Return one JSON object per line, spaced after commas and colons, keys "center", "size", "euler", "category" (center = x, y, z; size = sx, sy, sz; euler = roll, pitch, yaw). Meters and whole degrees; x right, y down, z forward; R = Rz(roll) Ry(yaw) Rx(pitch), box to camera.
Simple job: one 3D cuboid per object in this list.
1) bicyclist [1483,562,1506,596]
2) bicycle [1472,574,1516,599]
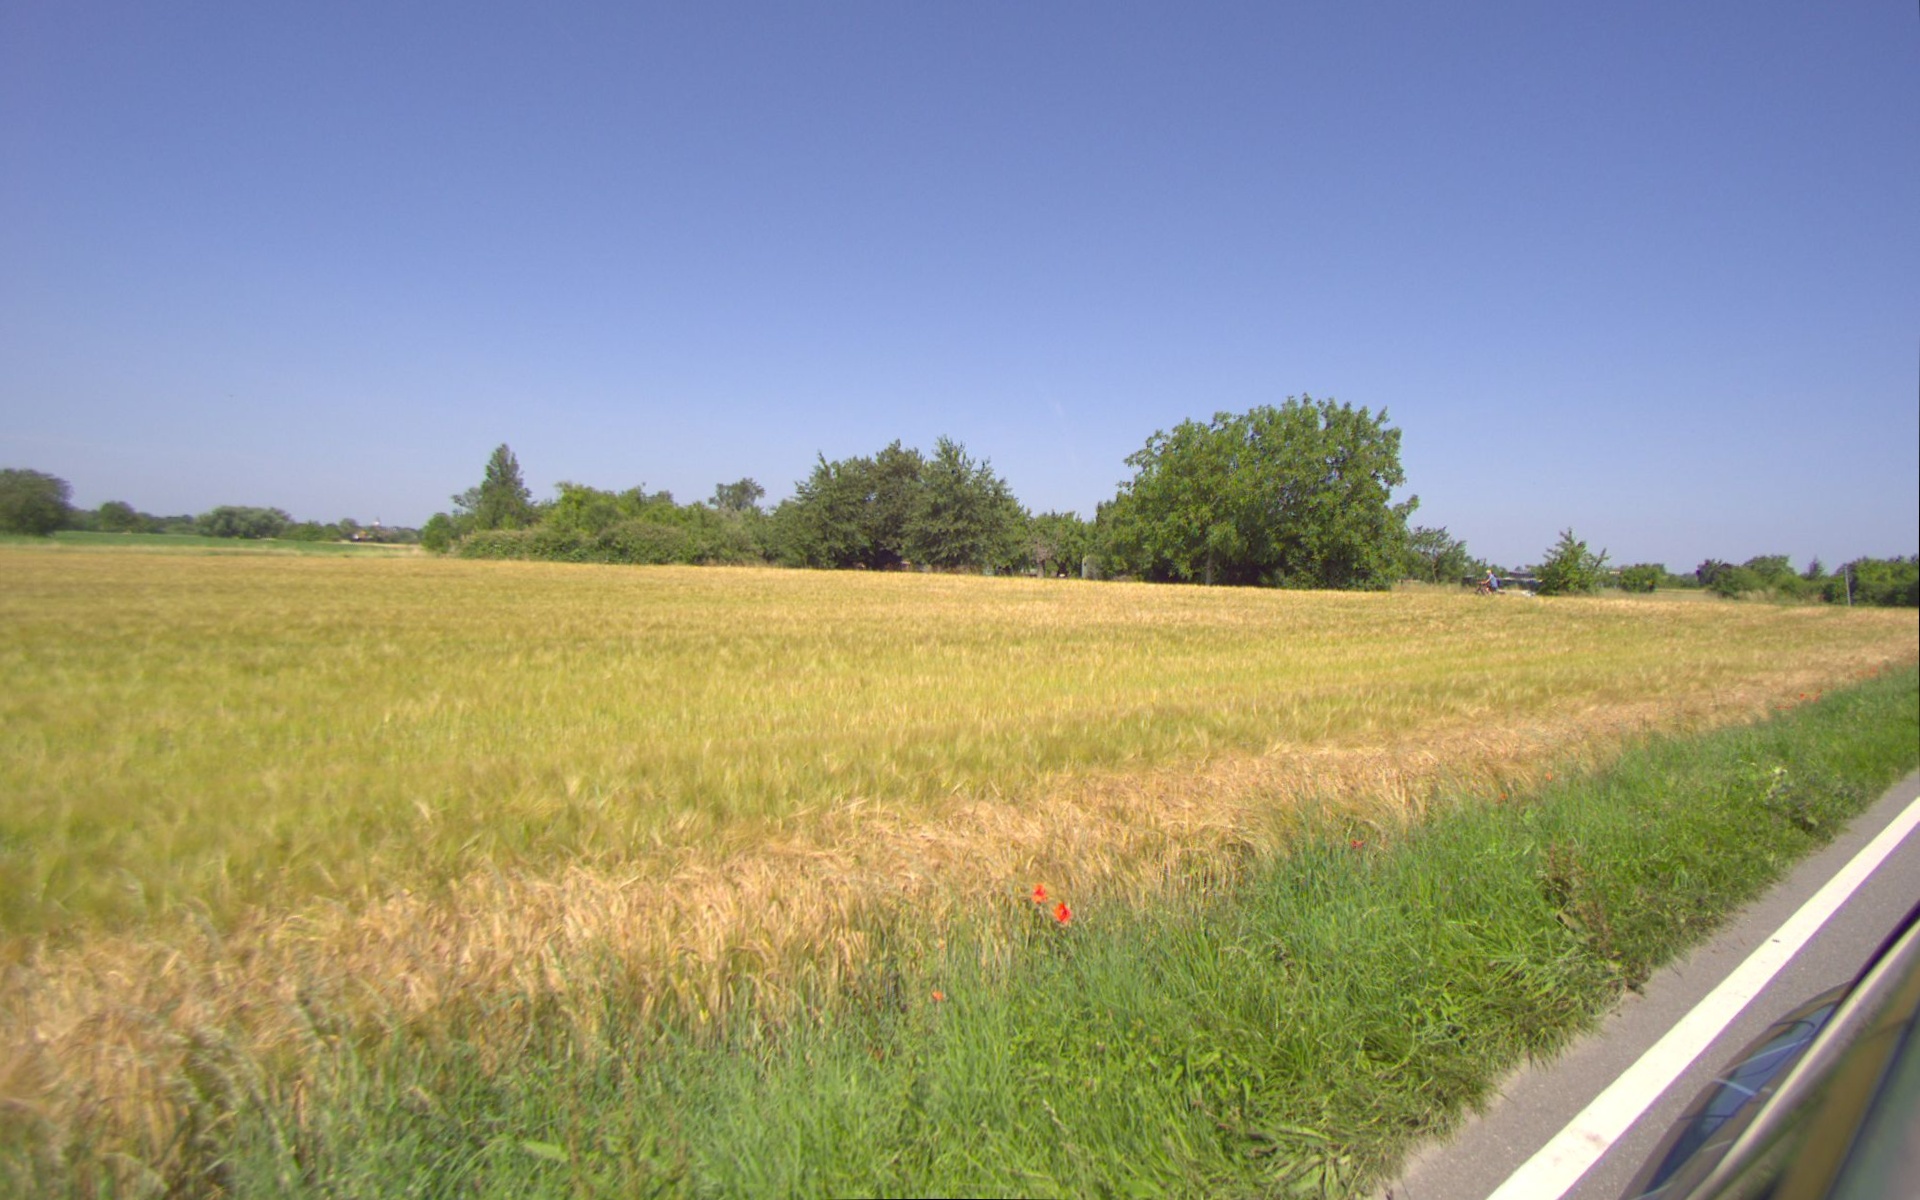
{"center": [25.757, -1.028, 48.786], "size": [0.724, 1.593, 0.673], "euler": [2, 2, 11], "category": "bicyclist"}
{"center": [25.744, -0.640, 48.799], "size": [1.741, 1.129, 0.520], "euler": [2, 2, 11], "category": "bicycle"}
